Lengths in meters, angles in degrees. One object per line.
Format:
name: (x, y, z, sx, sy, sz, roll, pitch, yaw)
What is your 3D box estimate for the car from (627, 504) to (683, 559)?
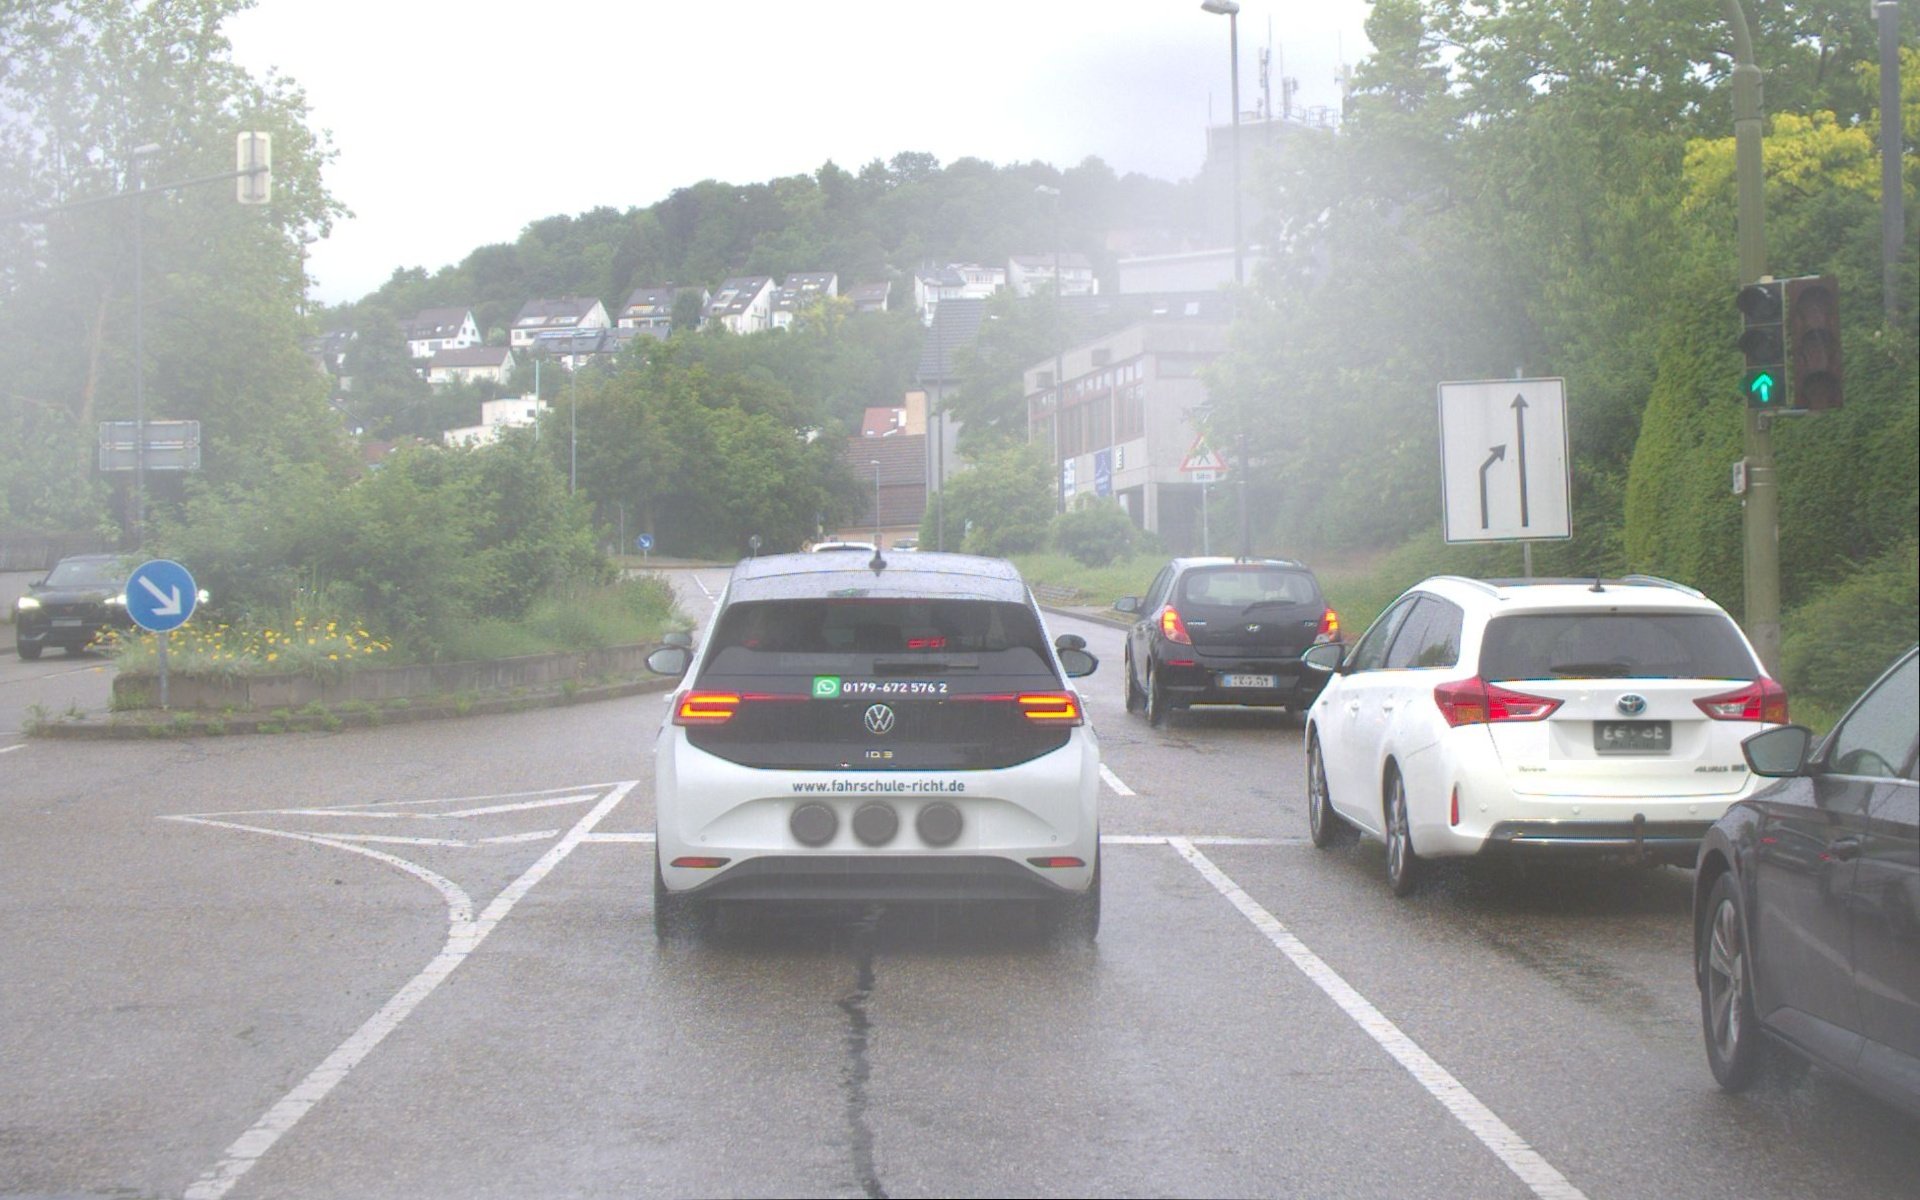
car: (-11.768, -2.637, 132.956, 1.993, 2.007, 4.000, 1, 0, -3)

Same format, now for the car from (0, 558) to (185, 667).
car: (-12.995, 0.176, 51.204, 1.950, 1.473, 4.296, -3, 0, -1)

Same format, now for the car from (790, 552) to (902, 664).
car: (-2.093, 0.136, 64.140, 1.993, 2.007, 4.000, 1, 0, -1)

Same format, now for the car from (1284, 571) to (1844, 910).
car: (2.716, 0.574, 16.442, 1.848, 1.405, 4.302, 0, 0, -1)

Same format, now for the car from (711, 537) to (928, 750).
car: (-1.142, 0.280, 26.994, 1.567, 1.525, 4.001, 0, 1, -4)

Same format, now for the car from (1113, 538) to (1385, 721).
car: (2.514, 0.240, 30.784, 1.993, 1.448, 3.771, -3, 0, -1)

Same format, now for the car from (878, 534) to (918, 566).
car: (-2.960, -2.362, 163.248, 1.737, 1.459, 4.000, 1, 0, -3)

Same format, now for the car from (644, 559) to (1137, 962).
car: (-0.295, 0.587, 14.846, 1.828, 1.495, 4.169, 0, 0, -1)

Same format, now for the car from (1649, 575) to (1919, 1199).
car: (3.061, 0.728, 8.100, 1.954, 1.502, 4.608, 2, 0, 1)
